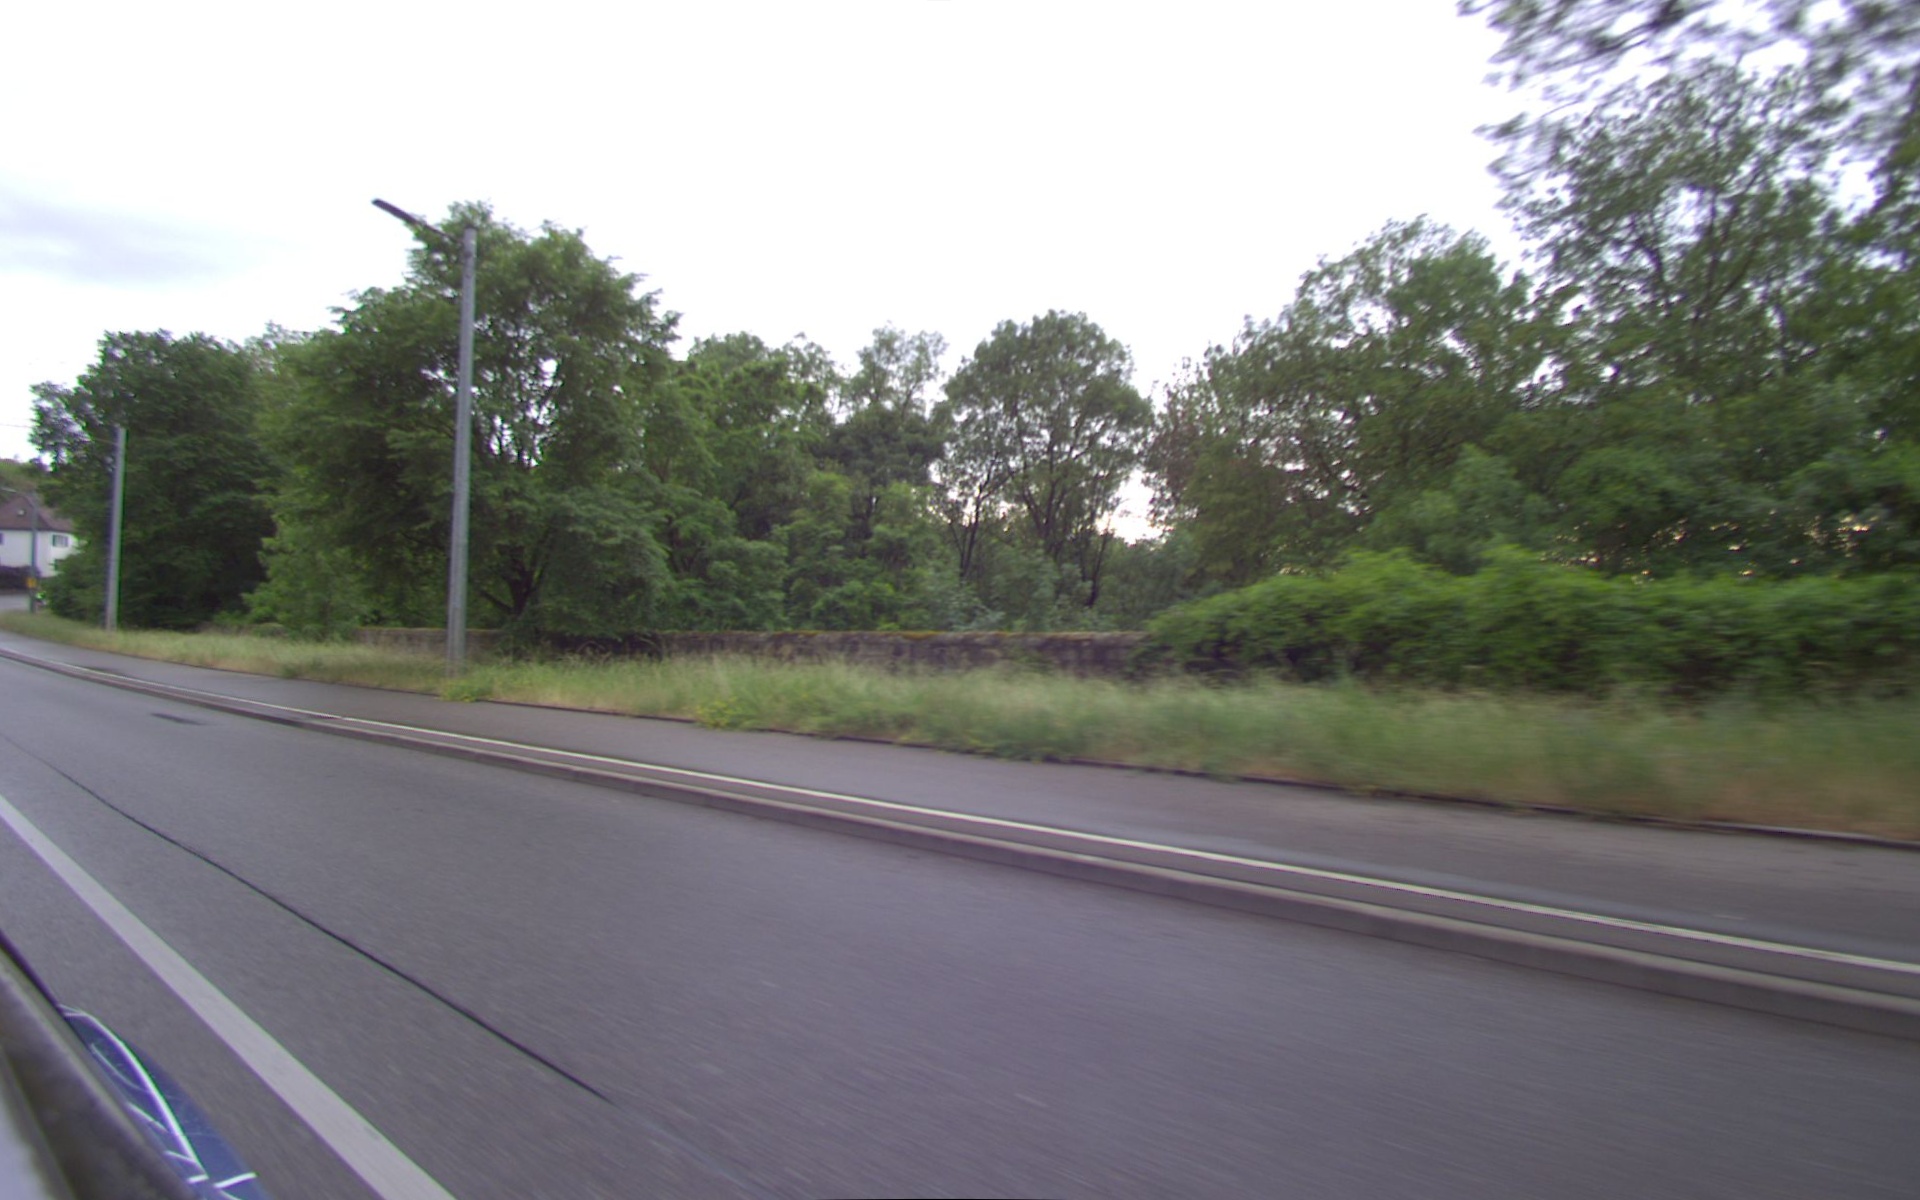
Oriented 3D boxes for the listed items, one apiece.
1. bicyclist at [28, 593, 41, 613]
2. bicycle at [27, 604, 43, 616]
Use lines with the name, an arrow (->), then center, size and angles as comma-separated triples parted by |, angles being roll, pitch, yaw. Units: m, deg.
bicyclist -> -75.124, 0.221, 82.170 | 0.699, 1.568, 1.173 | 0, 0, -38
bicycle -> -75.218, 0.801, 82.290 | 0.714, 0.949, 2.556 | 0, 0, -37
